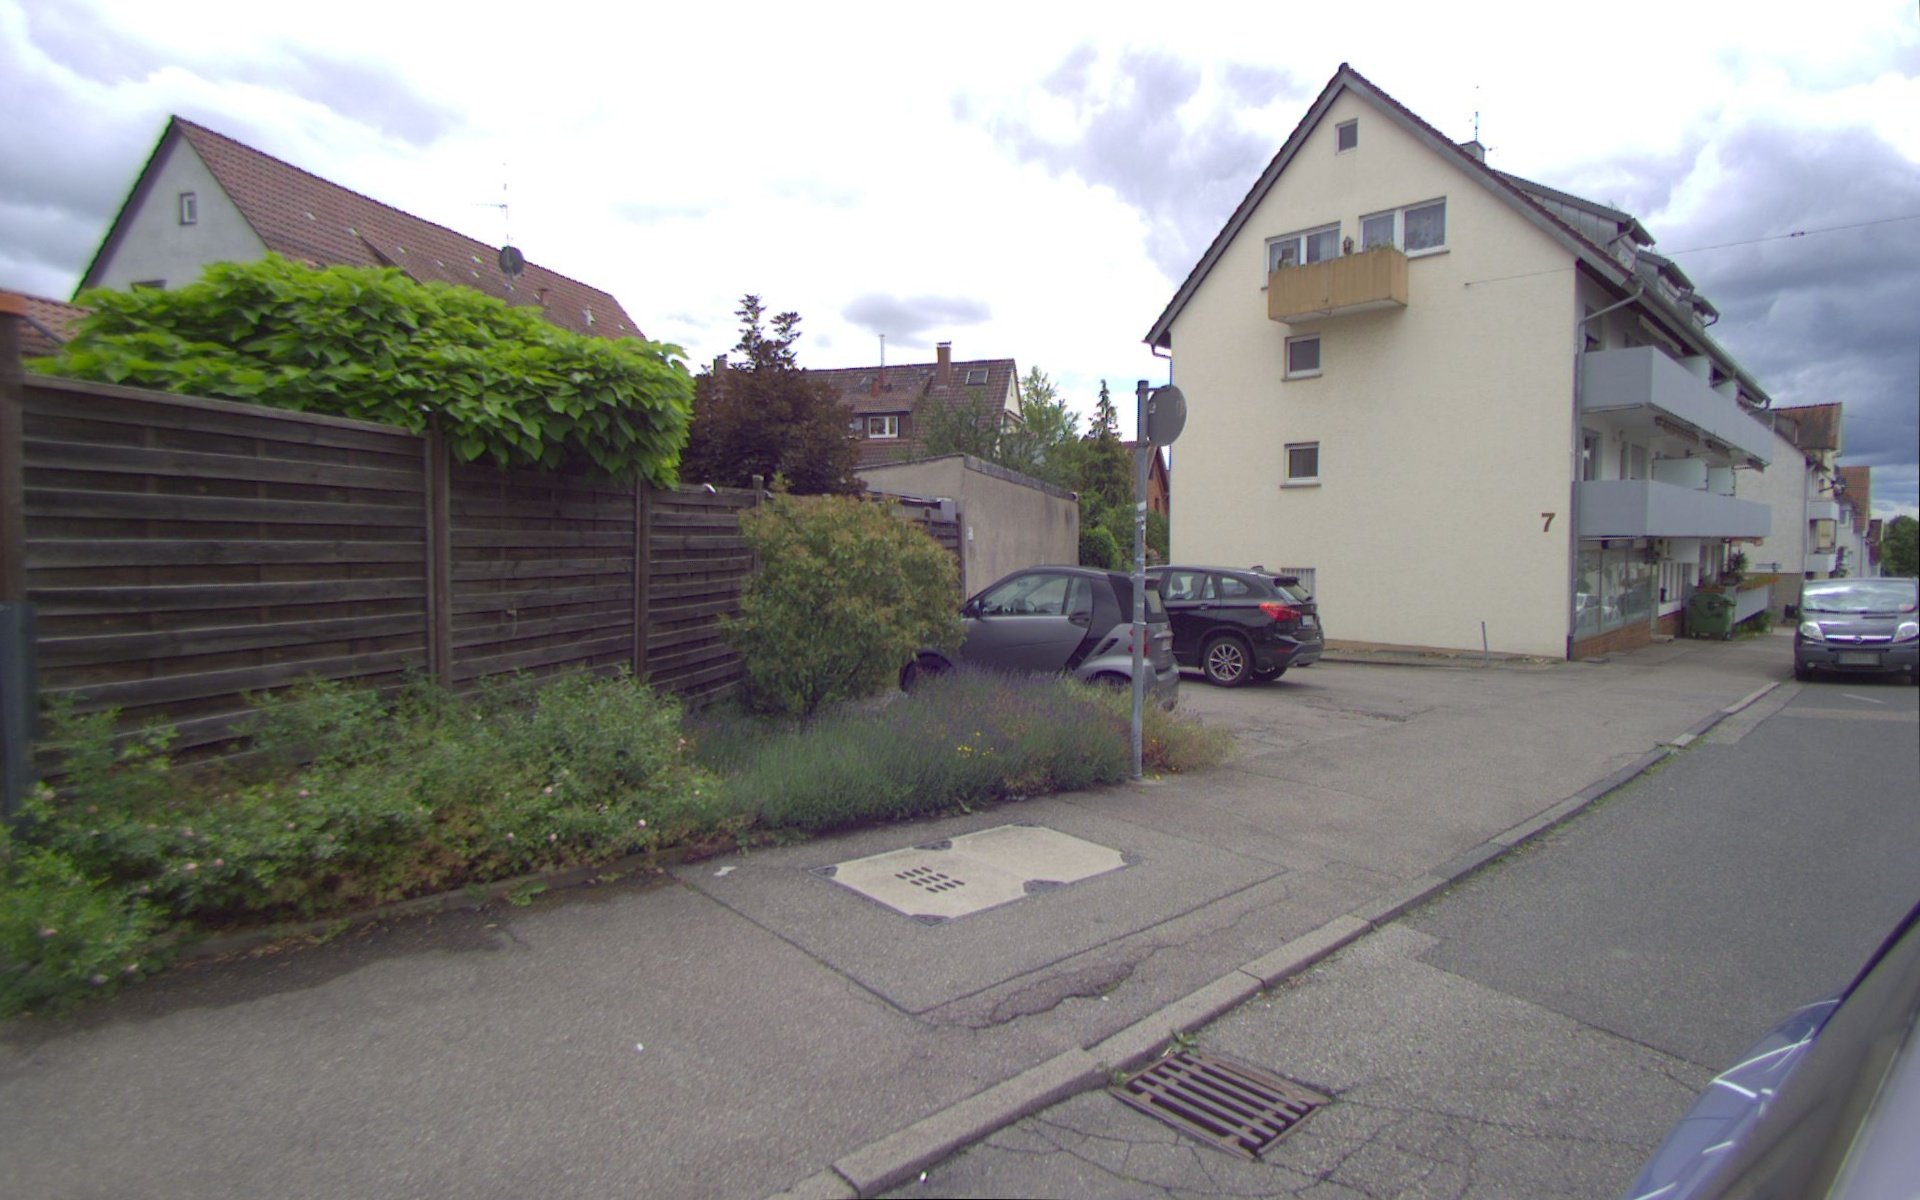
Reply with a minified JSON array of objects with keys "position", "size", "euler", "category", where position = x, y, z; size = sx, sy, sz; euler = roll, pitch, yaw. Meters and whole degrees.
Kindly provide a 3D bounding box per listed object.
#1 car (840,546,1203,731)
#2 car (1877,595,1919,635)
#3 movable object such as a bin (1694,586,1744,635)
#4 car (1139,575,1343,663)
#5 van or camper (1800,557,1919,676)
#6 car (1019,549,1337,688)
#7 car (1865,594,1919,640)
[{"position":[0.635,0.283,10.336],"size":[3.290,1.538,1.689],"euler":[3,2,26],"category":"car"},{"position":[34.867,0.519,37.237],"size":[1.580,1.423,3.541],"euler":[0,0,43],"category":"car"},{"position":[23.294,0.315,31.038],"size":[1.080,1.455,1.240],"euler":[0,0,44],"category":"movable object such as a bin"},{"position":[5.253,0.329,19.114],"size":[3.314,1.506,1.698],"euler":[0,0,44],"category":"car"},{"position":[17.735,0.279,19.570],"size":[1.993,2.039,4.985],"euler":[-1,-1,43],"category":"van or camper"},{"position":[3.096,0.163,14.719],"size":[4.102,1.674,1.879],"euler":[3,2,37],"category":"car"},{"position":[31.881,0.537,34.385],"size":[1.609,1.473,3.261],"euler":[0,0,44],"category":"car"}]
